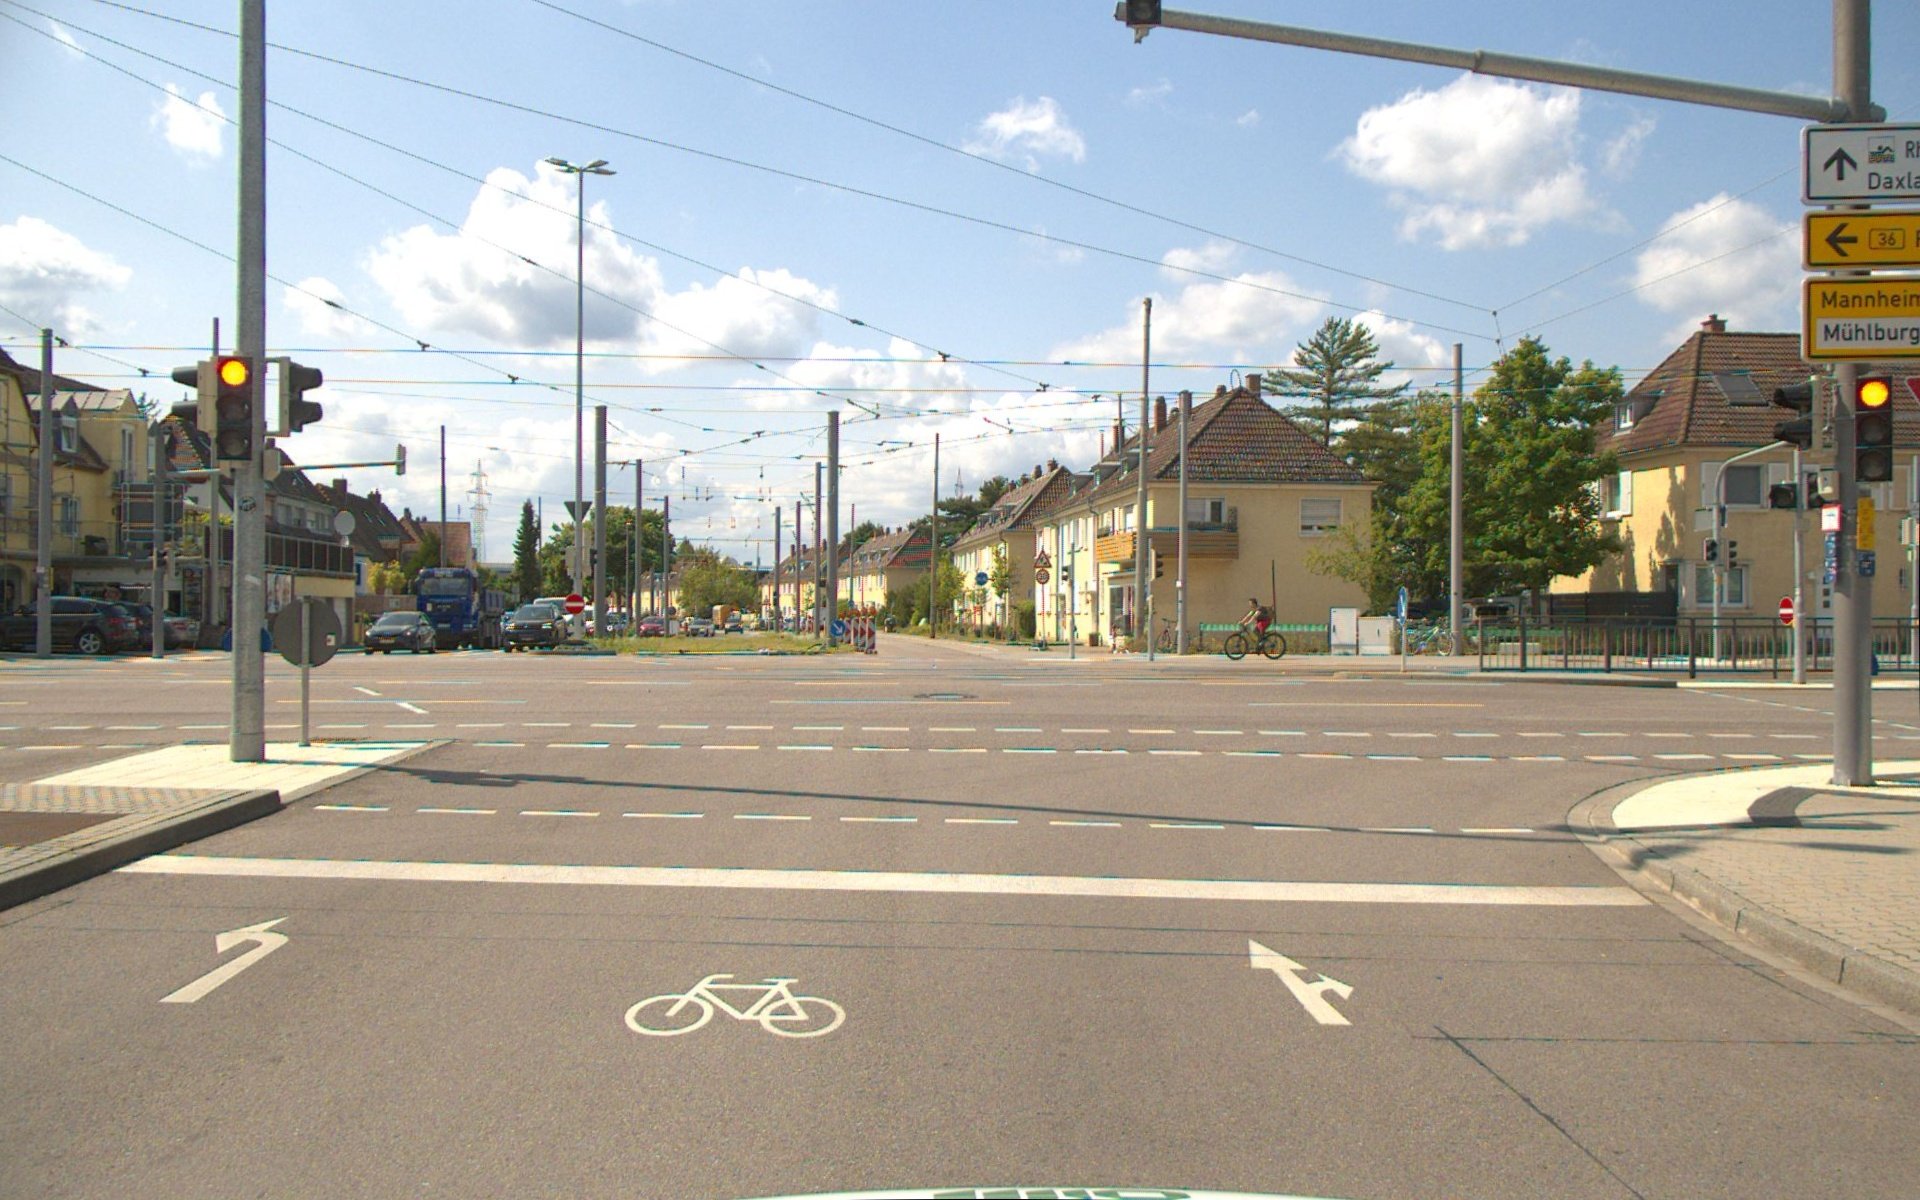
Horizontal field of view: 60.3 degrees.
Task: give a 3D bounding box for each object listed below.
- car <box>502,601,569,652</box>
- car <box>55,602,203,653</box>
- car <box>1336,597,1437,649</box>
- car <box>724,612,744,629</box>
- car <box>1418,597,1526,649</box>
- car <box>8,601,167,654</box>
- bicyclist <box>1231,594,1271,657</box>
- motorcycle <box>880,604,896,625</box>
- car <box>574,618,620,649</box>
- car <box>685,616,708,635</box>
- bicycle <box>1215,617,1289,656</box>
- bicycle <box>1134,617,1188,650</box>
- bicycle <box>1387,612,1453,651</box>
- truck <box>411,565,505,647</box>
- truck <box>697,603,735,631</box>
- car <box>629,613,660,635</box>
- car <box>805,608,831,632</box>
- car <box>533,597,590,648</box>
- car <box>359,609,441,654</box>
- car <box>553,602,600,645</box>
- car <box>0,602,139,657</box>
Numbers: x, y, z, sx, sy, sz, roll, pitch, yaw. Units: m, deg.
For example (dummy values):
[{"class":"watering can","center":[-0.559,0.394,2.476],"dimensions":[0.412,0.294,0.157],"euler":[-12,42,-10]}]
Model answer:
[{"class":"car","center":[-15.176,0.903,59.297],"dimensions":[1.752,1.751,4.434],"euler":[0,0,-7]},{"class":"car","center":[-27.375,0.907,54.563],"dimensions":[4.058,1.519,1.432],"euler":[2,-1,-9]},{"class":"car","center":[14.291,0.794,55.586],"dimensions":[1.789,1.649,3.990],"euler":[0,-2,-10]},{"class":"car","center":[-22.498,2.051,164.742],"dimensions":[1.783,1.579,3.997],"euler":[0,0,-4]},{"class":"car","center":[17.053,0.794,55.264],"dimensions":[1.789,1.649,3.990],"euler":[0,-2,-10]},{"class":"car","center":[-27.302,0.861,51.852],"dimensions":[4.058,1.519,1.504],"euler":[2,-1,-9]},{"class":"bicyclist","center":[8.453,0.740,48.011],"dimensions":[0.940,1.806,0.717],"euler":[0,-1,-13]},{"class":"motorcycle","center":[-5.767,1.131,131.886],"dimensions":[1.046,1.664,2.079],"euler":[0,-1,-9]},{"class":"car","center":[-17.630,1.613,80.484],"dimensions":[1.879,1.444,3.992],"euler":[0,-1,-9]},{"class":"car","center":[-22.148,2.144,139.025],"dimensions":[1.808,1.589,4.180],"euler":[0,-1,-7]},{"class":"bicycle","center":[8.435,1.042,47.765],"dimensions":[1.991,1.121,0.713],"euler":[0,-1,-12]},{"class":"bicycle","center":[6.758,1.123,55.780],"dimensions":[0.587,1.116,2.254],"euler":[0,-1,-29]},{"class":"bicycle","center":[13.585,0.917,48.854],"dimensions":[1.773,1.124,0.699],"euler":[0,-1,39]},{"class":"truck","center":[-20.929,0.308,69.336],"dimensions":[2.717,3.244,7.567],"euler":[0,-1,-9]},{"class":"truck","center":[-32.037,2.267,216.992],"dimensions":[2.606,3.555,9.366],"euler":[0,-1,-24]},{"class":"car","center":[-21.792,1.651,114.239],"dimensions":[1.808,1.520,4.848],"euler":[0,-1,-7]},{"class":"car","center":[-13.459,1.885,157.025],"dimensions":[2.028,2.187,4.866],"euler":[0,-1,-10]},{"class":"car","center":[-15.795,0.902,65.704],"dimensions":[1.780,1.955,4.738],"euler":[0,-1,-9]},{"class":"car","center":[-19.497,1.092,57.750],"dimensions":[1.792,1.513,4.328],"euler":[0,-1,-6]},{"class":"car","center":[-17.024,1.041,73.554],"dimensions":[1.700,1.813,4.396],"euler":[0,-1,-9]},{"class":"car","center":[-26.821,0.861,49.184],"dimensions":[4.058,1.519,1.177],"euler":[2,-1,-9]}]
